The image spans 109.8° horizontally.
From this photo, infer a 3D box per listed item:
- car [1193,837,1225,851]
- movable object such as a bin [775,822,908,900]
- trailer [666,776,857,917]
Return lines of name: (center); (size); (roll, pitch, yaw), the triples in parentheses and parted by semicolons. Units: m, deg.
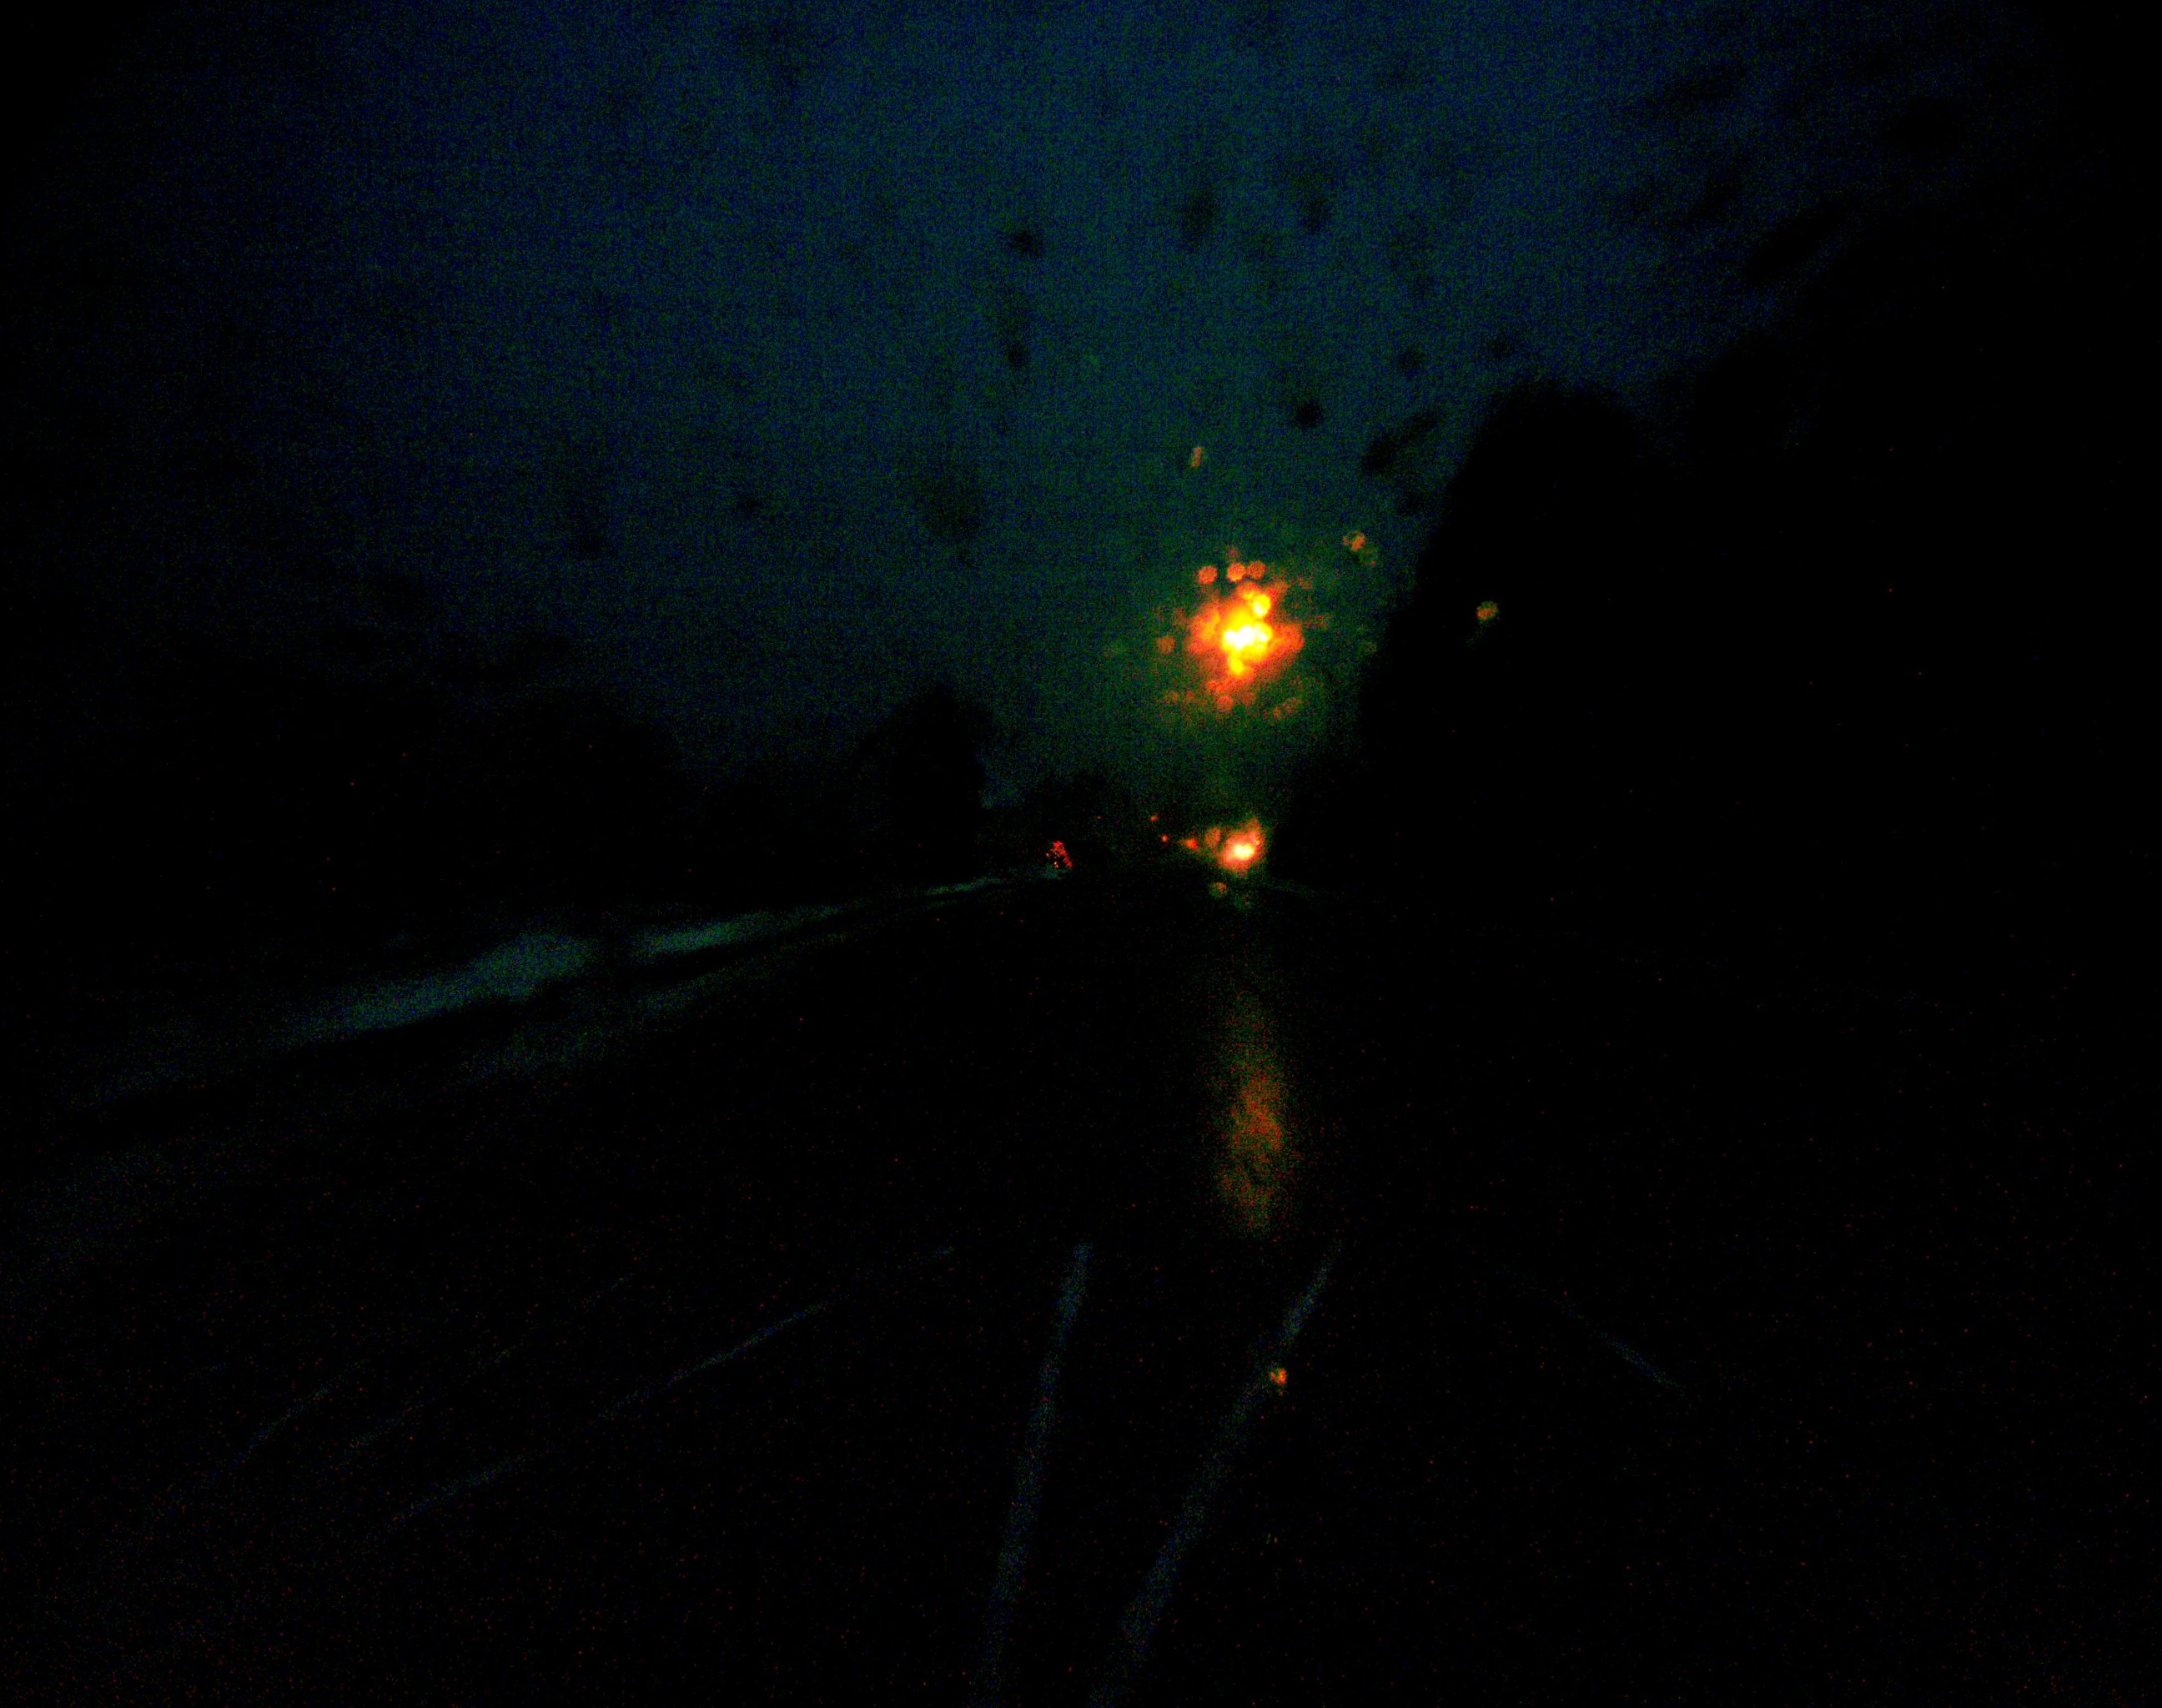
car: (18.455, -1.434, 109.627); (4.206, 1.848, 1.914); (2, 5, 35)
movable object such as a bin: (-8.207, 0.170, 26.572); (2.391, 2.455, 4.518); (-1, 2, 12)
trailer: (-8.946, -0.251, 21.995); (2.881, 3.540, 5.063); (-1, 2, 6)
